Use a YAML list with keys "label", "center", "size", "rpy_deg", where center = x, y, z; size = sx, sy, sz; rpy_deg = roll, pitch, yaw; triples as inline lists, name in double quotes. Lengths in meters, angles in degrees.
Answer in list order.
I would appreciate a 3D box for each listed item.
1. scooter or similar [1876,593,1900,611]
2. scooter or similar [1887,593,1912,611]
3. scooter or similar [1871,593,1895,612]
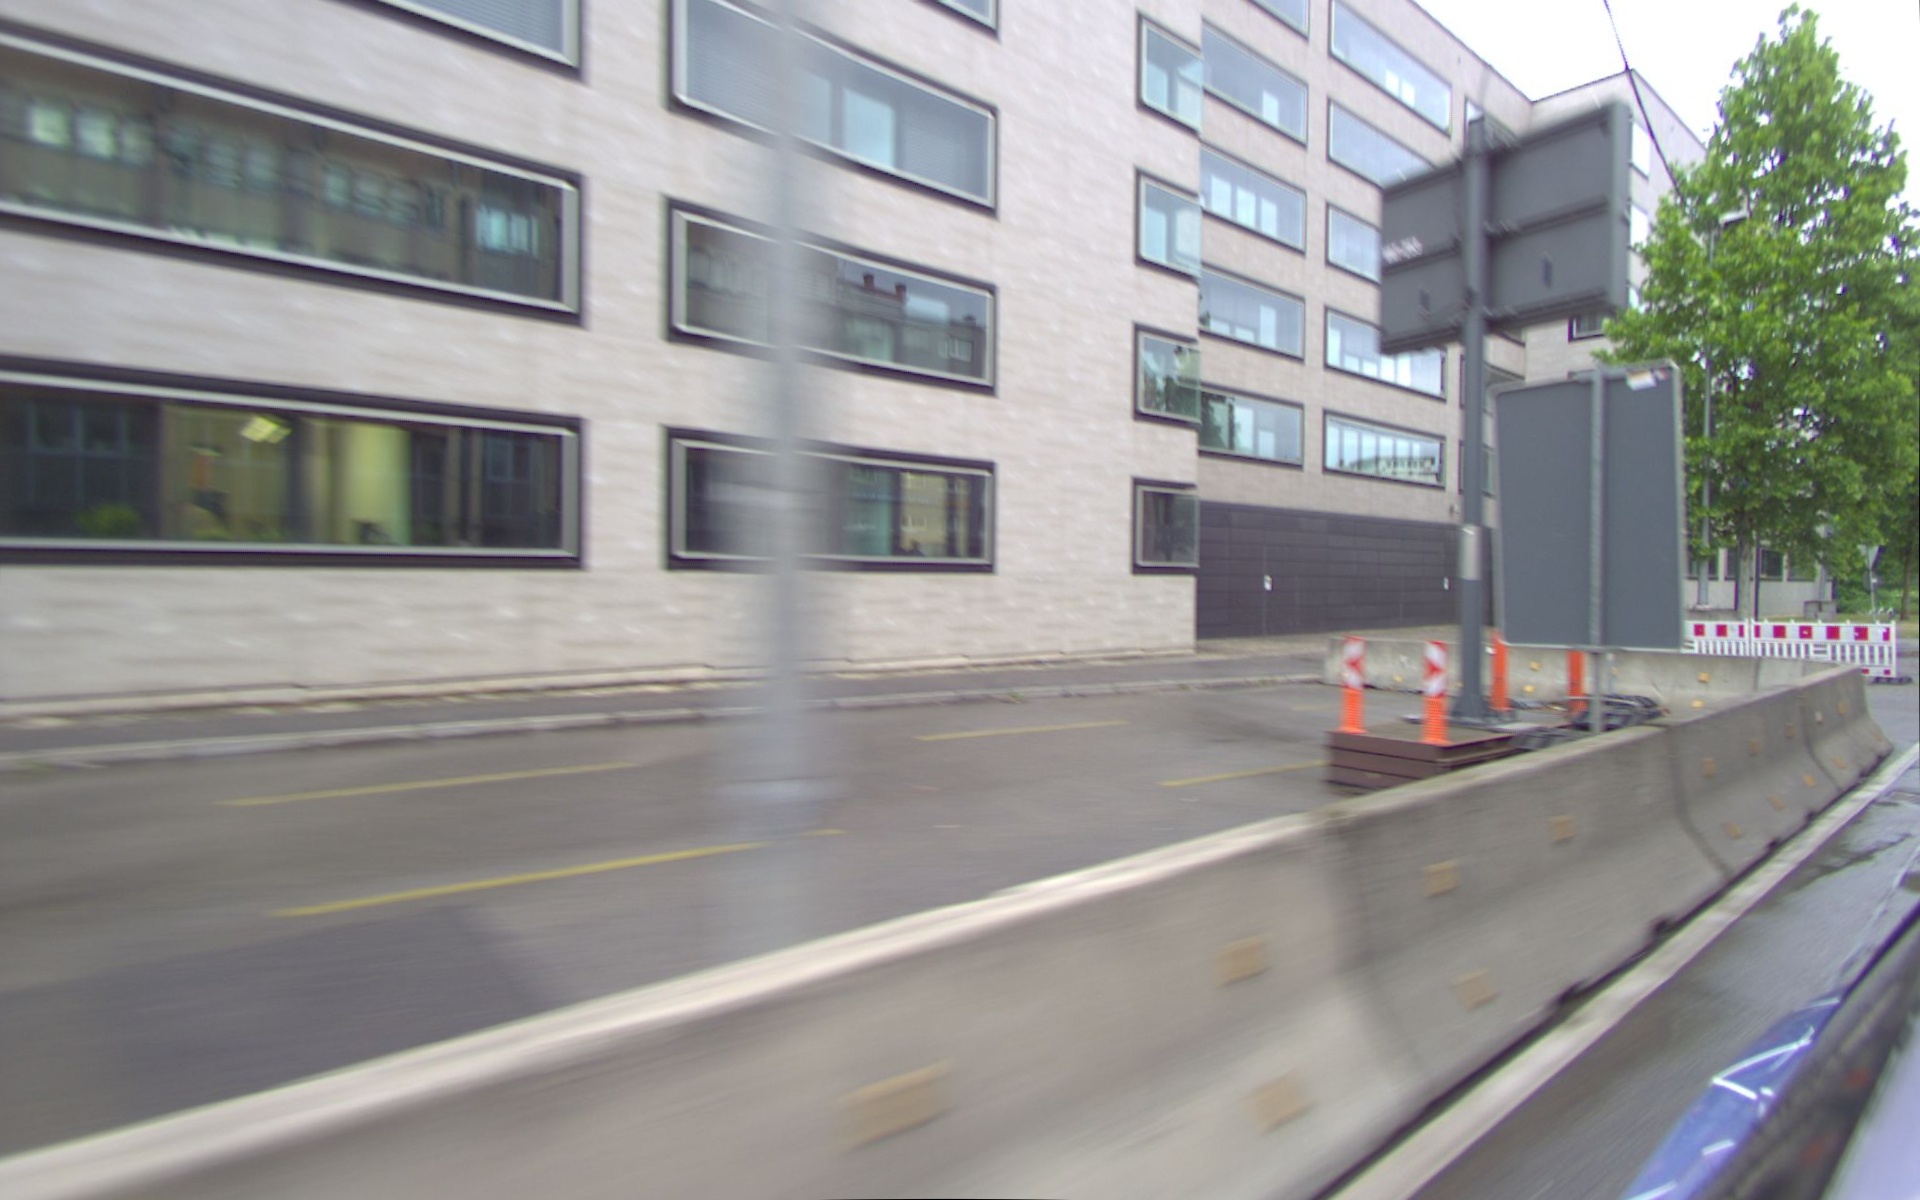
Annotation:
- label: "scooter or similar"
  center: [68.874, 0.139, 75.124]
  size: [0.464, 1.329, 1.238]
  rpy_deg: [0, 2, -43]
- label: "scooter or similar"
  center: [68.943, 0.145, 74.266]
  size: [0.545, 1.329, 1.238]
  rpy_deg: [0, 2, -43]
- label: "scooter or similar"
  center: [69.046, 0.175, 75.714]
  size: [0.464, 1.329, 1.238]
  rpy_deg: [0, 2, -43]
